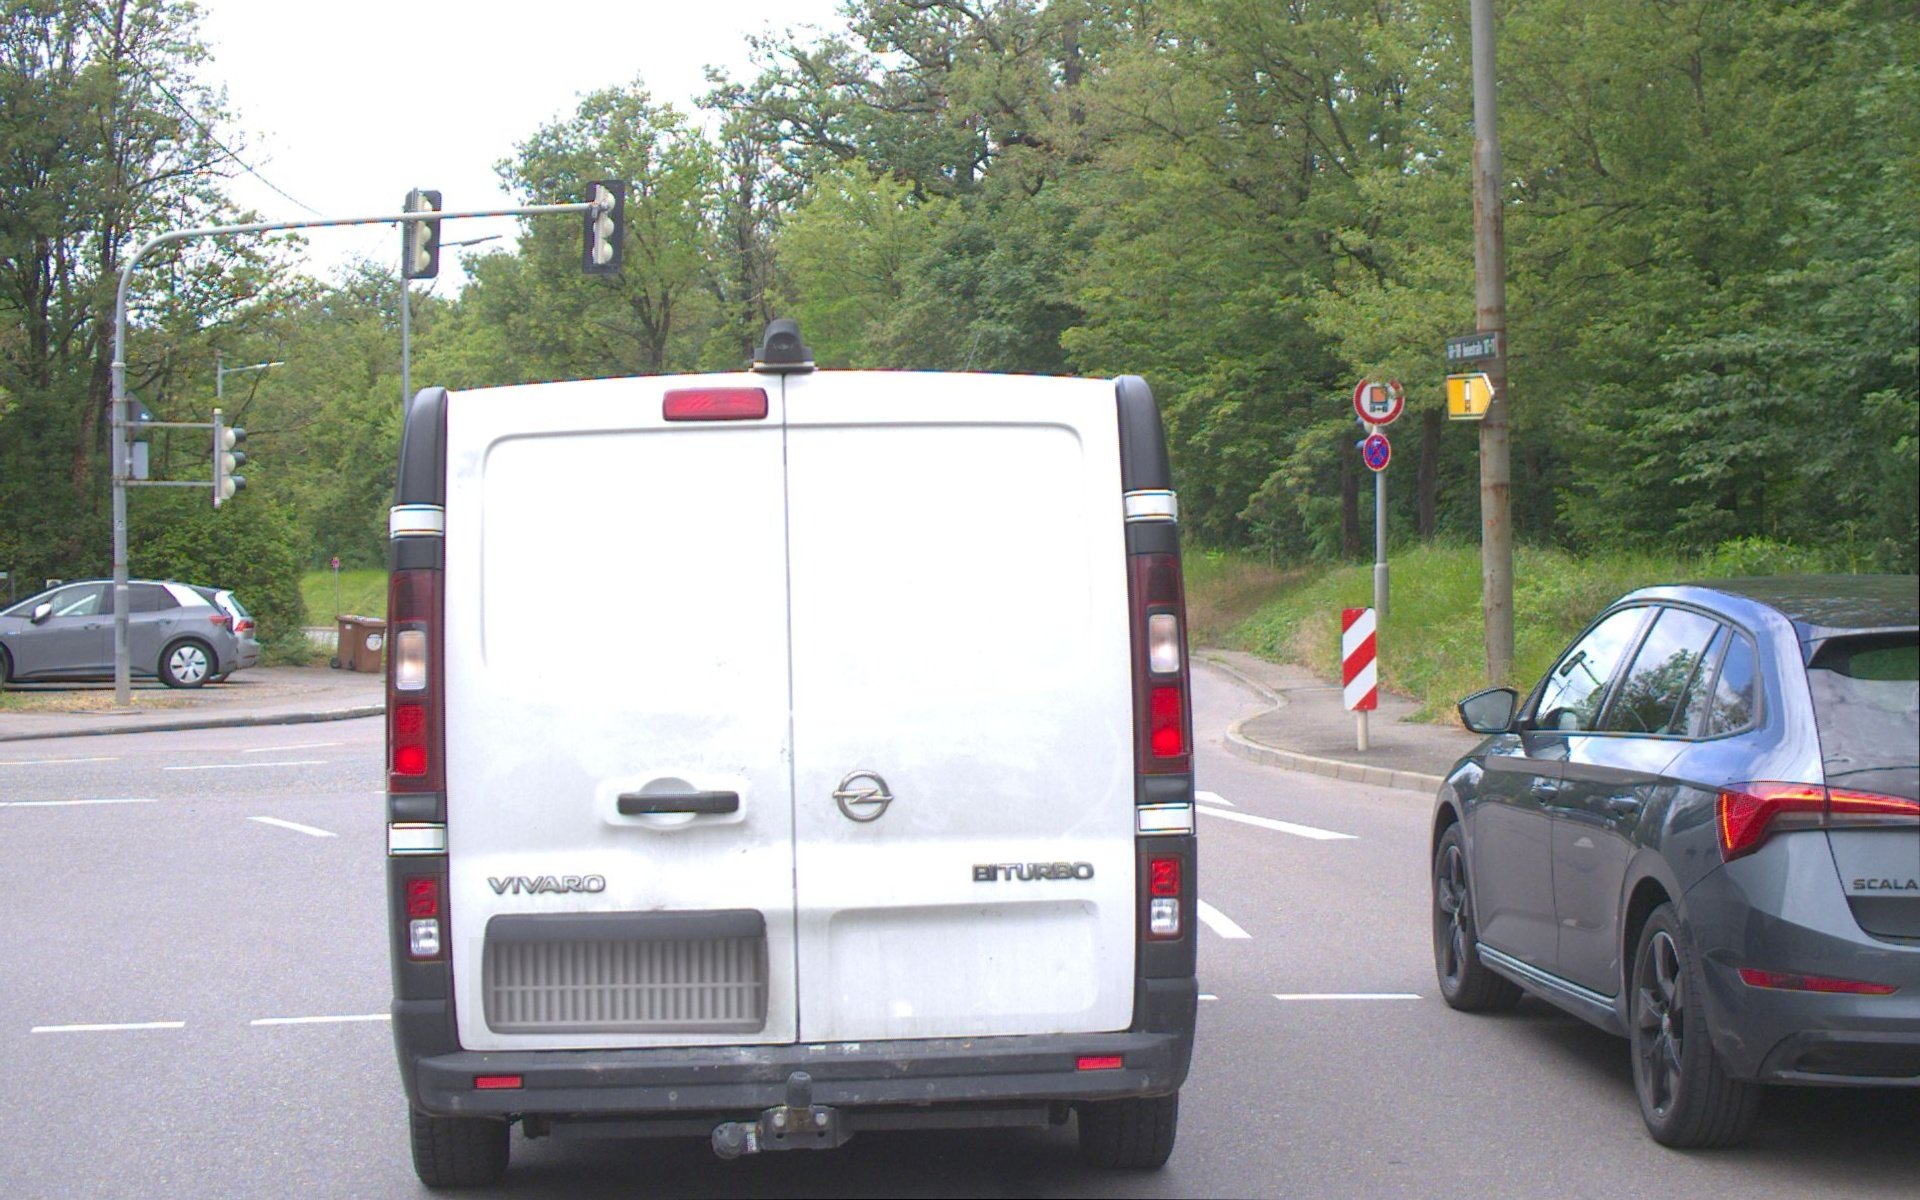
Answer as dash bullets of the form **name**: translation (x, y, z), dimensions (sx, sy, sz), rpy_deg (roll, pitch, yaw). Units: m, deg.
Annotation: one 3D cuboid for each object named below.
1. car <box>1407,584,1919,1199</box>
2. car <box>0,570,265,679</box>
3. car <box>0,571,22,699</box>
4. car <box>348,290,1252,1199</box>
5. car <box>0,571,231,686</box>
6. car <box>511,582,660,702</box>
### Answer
- **car**: translation (2.543, 0.692, 9.903), dimensions (1.792, 1.445, 4.001), rpy_deg (0, 1, -3)
- **car**: translation (-12.502, 0.343, 51.105), dimensions (4.085, 1.548, 1.855), rpy_deg (0, 1, -17)
- **car**: translation (-12.137, 0.368, 37.893), dimensions (1.699, 1.444, 3.539), rpy_deg (2, 1, 20)
- **car**: translation (-0.442, 0.349, 9.737), dimensions (1.916, 2.046, 4.615), rpy_deg (1, 1, -2)
- **car**: translation (-12.349, 0.381, 48.047), dimensions (4.085, 1.548, 1.855), rpy_deg (0, 1, -17)
- **car**: translation (-5.005, 0.535, 46.378), dimensions (1.856, 1.502, 4.001), rpy_deg (1, 1, -4)
